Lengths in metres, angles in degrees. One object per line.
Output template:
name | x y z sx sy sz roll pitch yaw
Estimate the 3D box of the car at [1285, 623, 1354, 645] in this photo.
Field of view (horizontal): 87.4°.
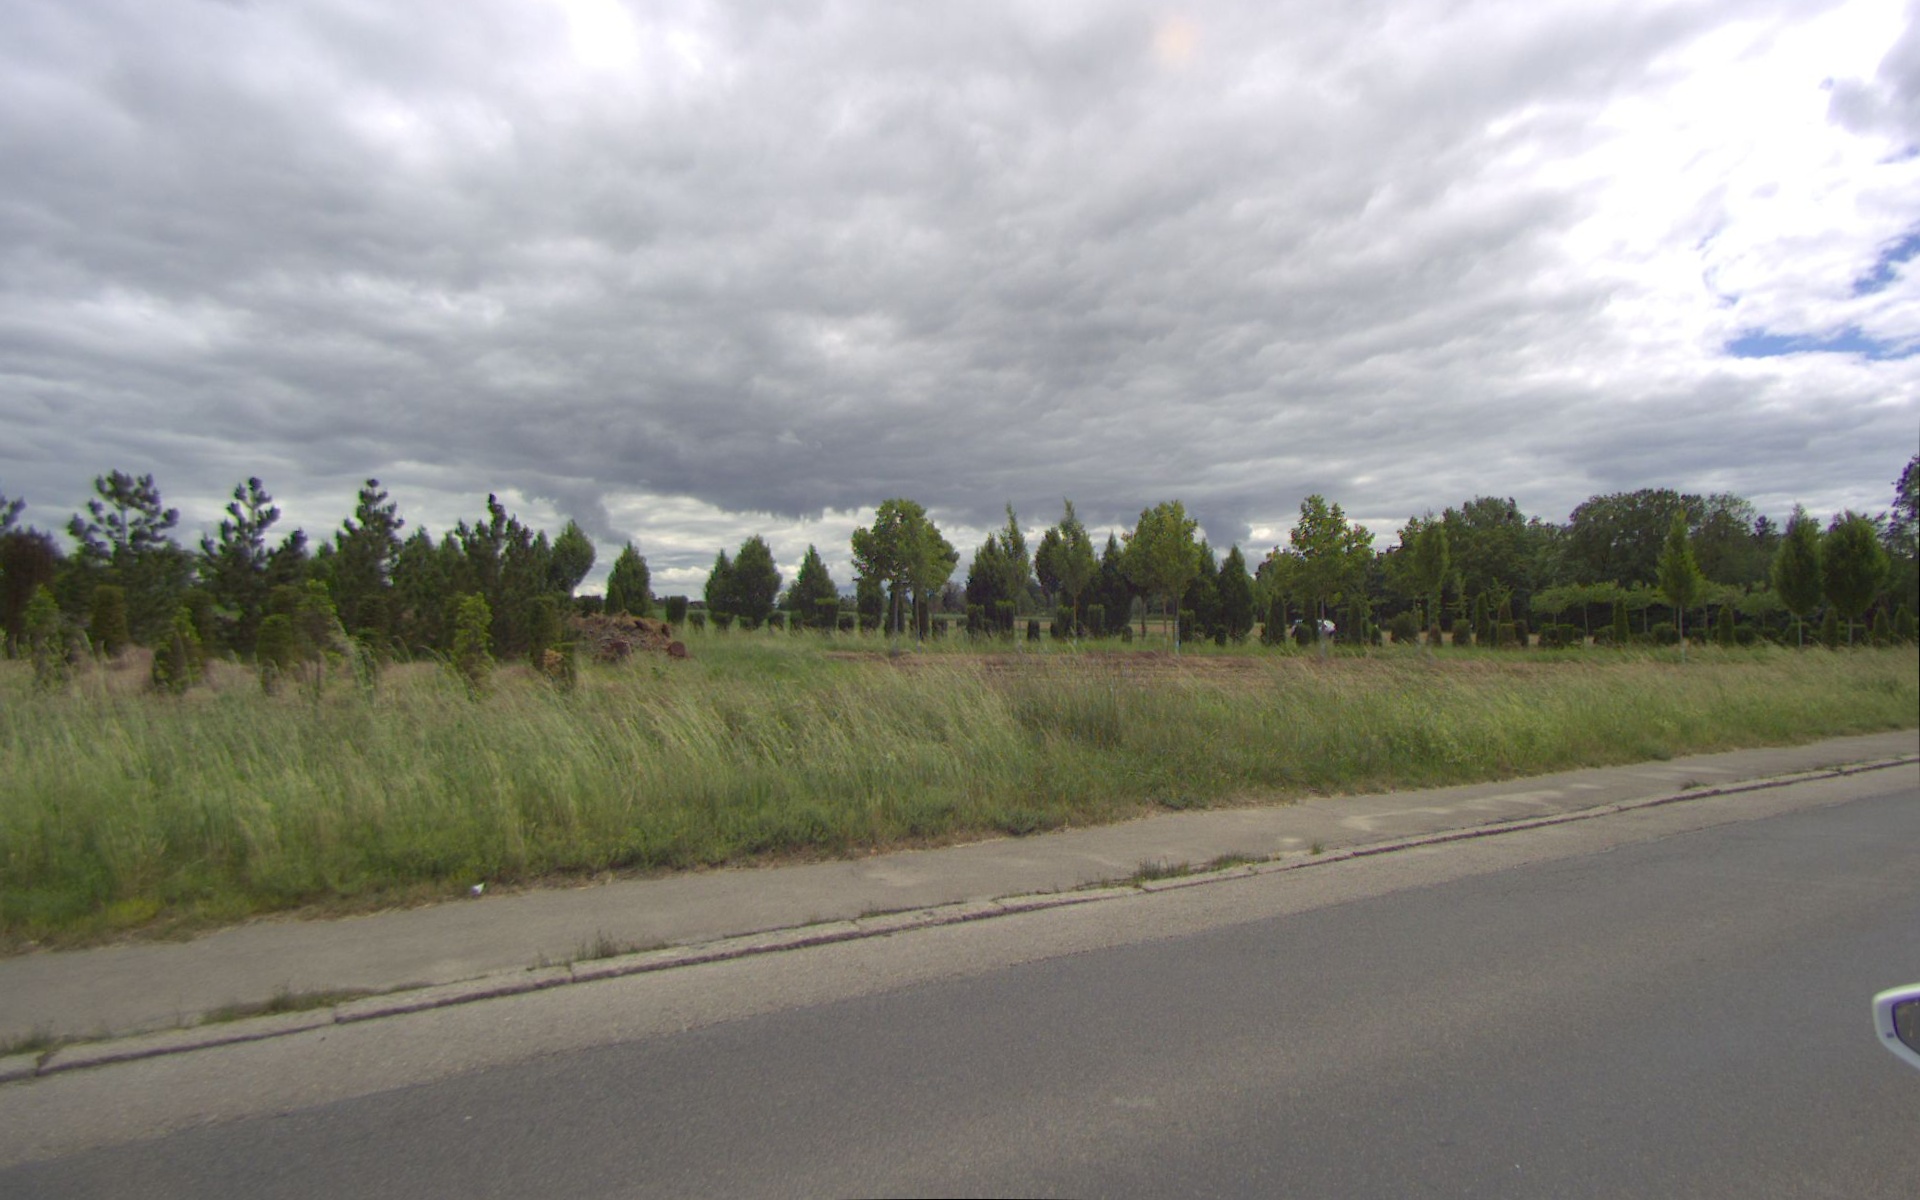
car | 24.120 2.270 67.455 1.963 1.473 3.947 2 -3 -45
